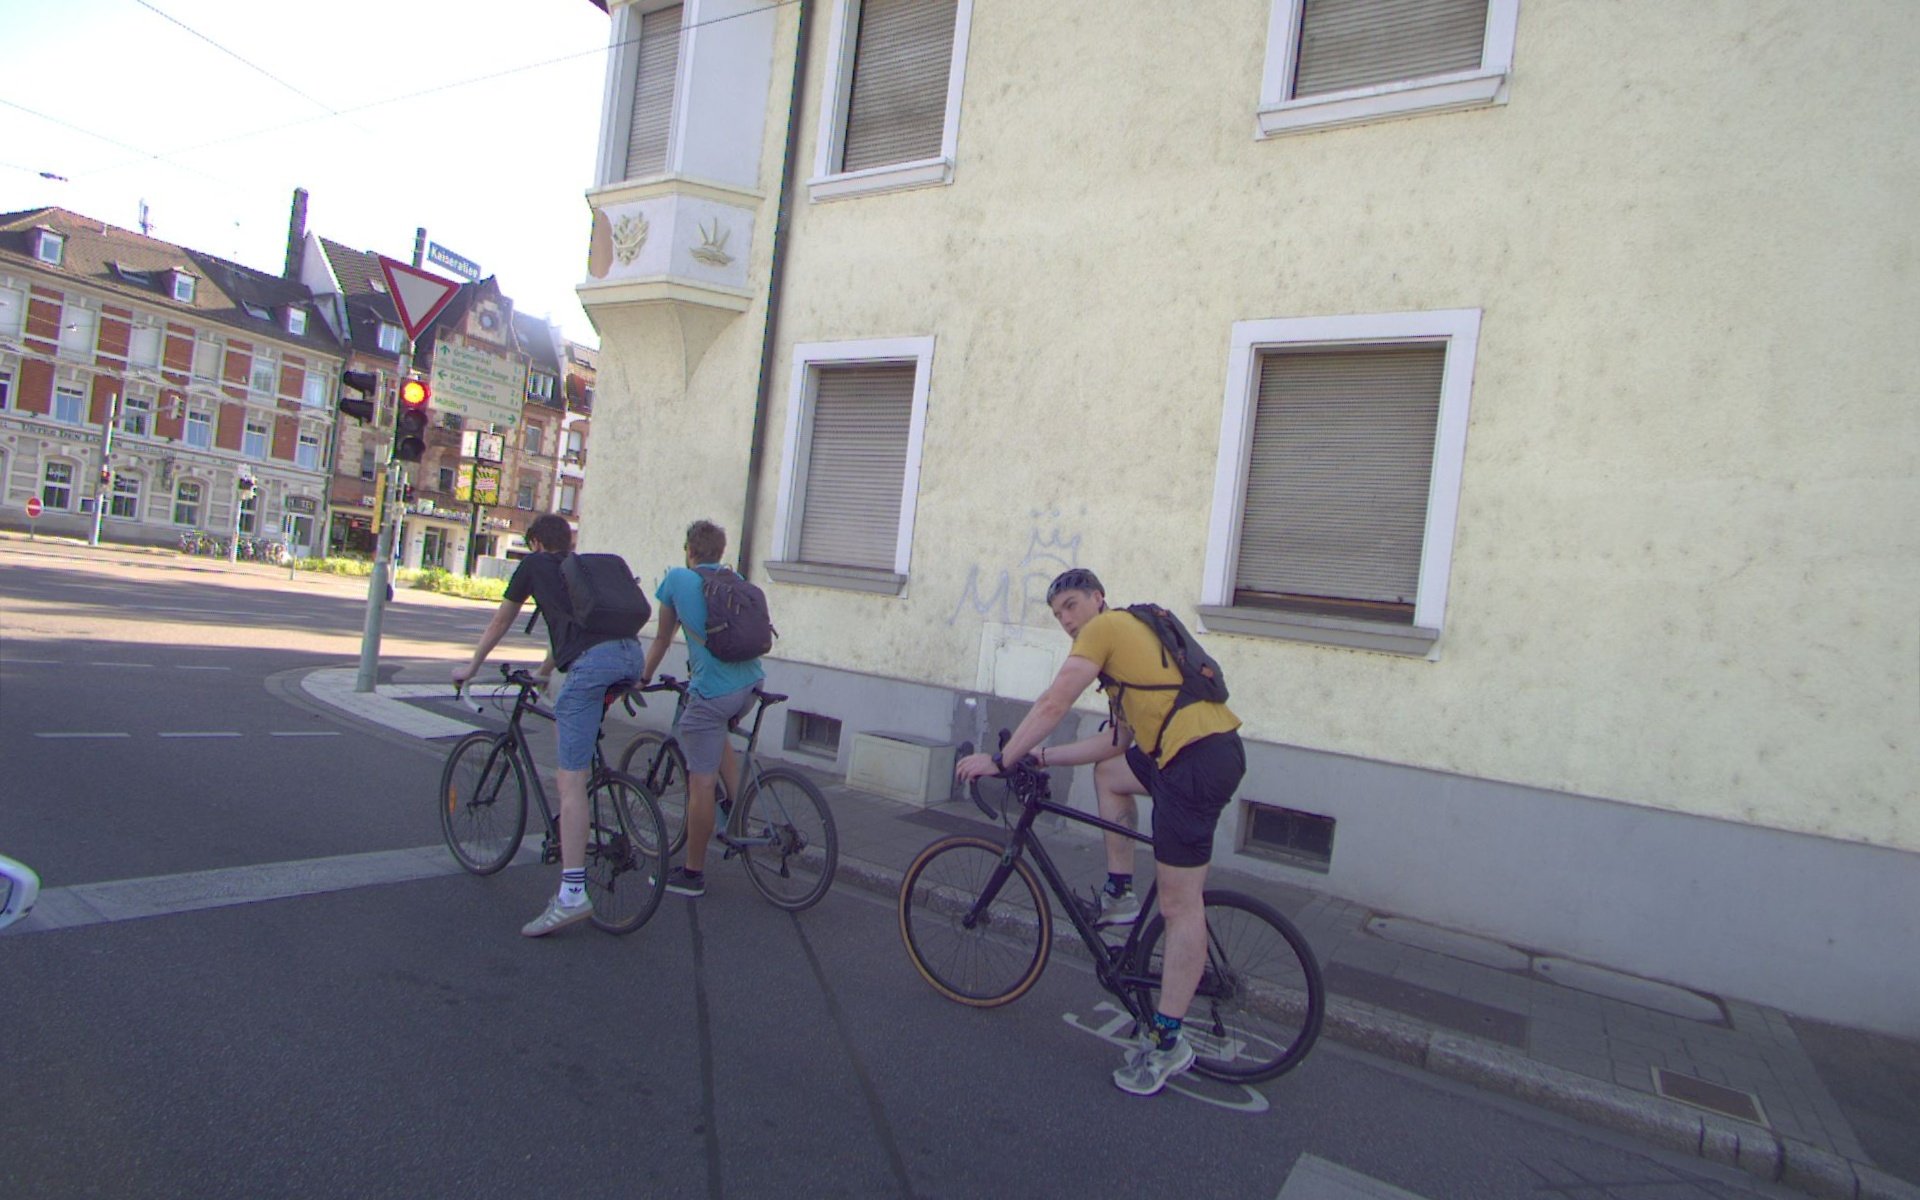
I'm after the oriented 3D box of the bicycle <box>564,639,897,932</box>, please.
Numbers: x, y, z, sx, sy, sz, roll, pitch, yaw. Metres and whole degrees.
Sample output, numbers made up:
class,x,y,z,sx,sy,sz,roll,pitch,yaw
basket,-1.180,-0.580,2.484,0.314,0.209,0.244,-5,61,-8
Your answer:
class,x,y,z,sx,sy,sz,roll,pitch,yaw
bicycle,-1.254,0.883,5.275,1.784,1.130,0.519,7,0,34

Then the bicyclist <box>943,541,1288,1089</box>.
class,x,y,z,sx,sy,sz,roll,pitch,yaw
bicyclist,0.584,0.714,3.787,0.939,1.742,0.582,7,0,32

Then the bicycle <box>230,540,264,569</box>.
class,x,y,z,sx,sy,sz,roll,pitch,yaw
bicycle,-33.669,-2.163,47.509,2.140,1.157,0.618,7,0,37

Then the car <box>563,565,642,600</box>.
class,x,y,z,sx,sy,sz,roll,pitch,yaw
car,-23.158,-1.127,65.317,2.116,1.660,4.340,7,-1,31

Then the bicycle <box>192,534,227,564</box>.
class,x,y,z,sx,sy,sz,roll,pitch,yaw
bicycle,-34.537,-2.358,46.280,2.140,1.157,0.618,7,0,37

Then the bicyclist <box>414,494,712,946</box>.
class,x,y,z,sx,sy,sz,roll,pitch,yaw
bicyclist,-1.803,0.470,4.540,1.083,1.775,0.562,7,0,34

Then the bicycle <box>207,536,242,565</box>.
class,x,y,z,sx,sy,sz,roll,pitch,yaw
bicycle,-34.201,-2.310,46.757,2.140,1.157,0.618,7,0,37

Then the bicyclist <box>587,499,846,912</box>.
class,x,y,z,sx,sy,sz,roll,pitch,yaw
bicyclist,-1.270,0.497,5.241,0.961,1.917,0.602,6,-1,34

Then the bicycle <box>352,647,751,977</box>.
class,x,y,z,sx,sy,sz,roll,pitch,yaw
bicycle,-1.914,0.852,4.586,1.897,1.023,0.645,7,0,34

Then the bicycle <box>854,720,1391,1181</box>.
class,x,y,z,sx,sy,sz,roll,pitch,yaw
bicycle,0.552,1.144,3.761,1.780,1.101,0.611,7,0,32

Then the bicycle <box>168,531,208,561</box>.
class,x,y,z,sx,sy,sz,roll,pitch,yaw
bicycle,-35.051,-2.447,45.678,2.140,1.157,0.806,7,0,37

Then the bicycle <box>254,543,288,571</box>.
class,x,y,z,sx,sy,sz,roll,pitch,yaw
bicycle,-33.104,-2.070,48.313,2.102,1.150,0.609,7,0,37

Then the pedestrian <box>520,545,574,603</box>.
class,x,y,z,sx,sy,sz,roll,pitch,yaw
pedestrian,-16.558,-1.042,40.373,1.285,2.068,1.321,7,0,31
